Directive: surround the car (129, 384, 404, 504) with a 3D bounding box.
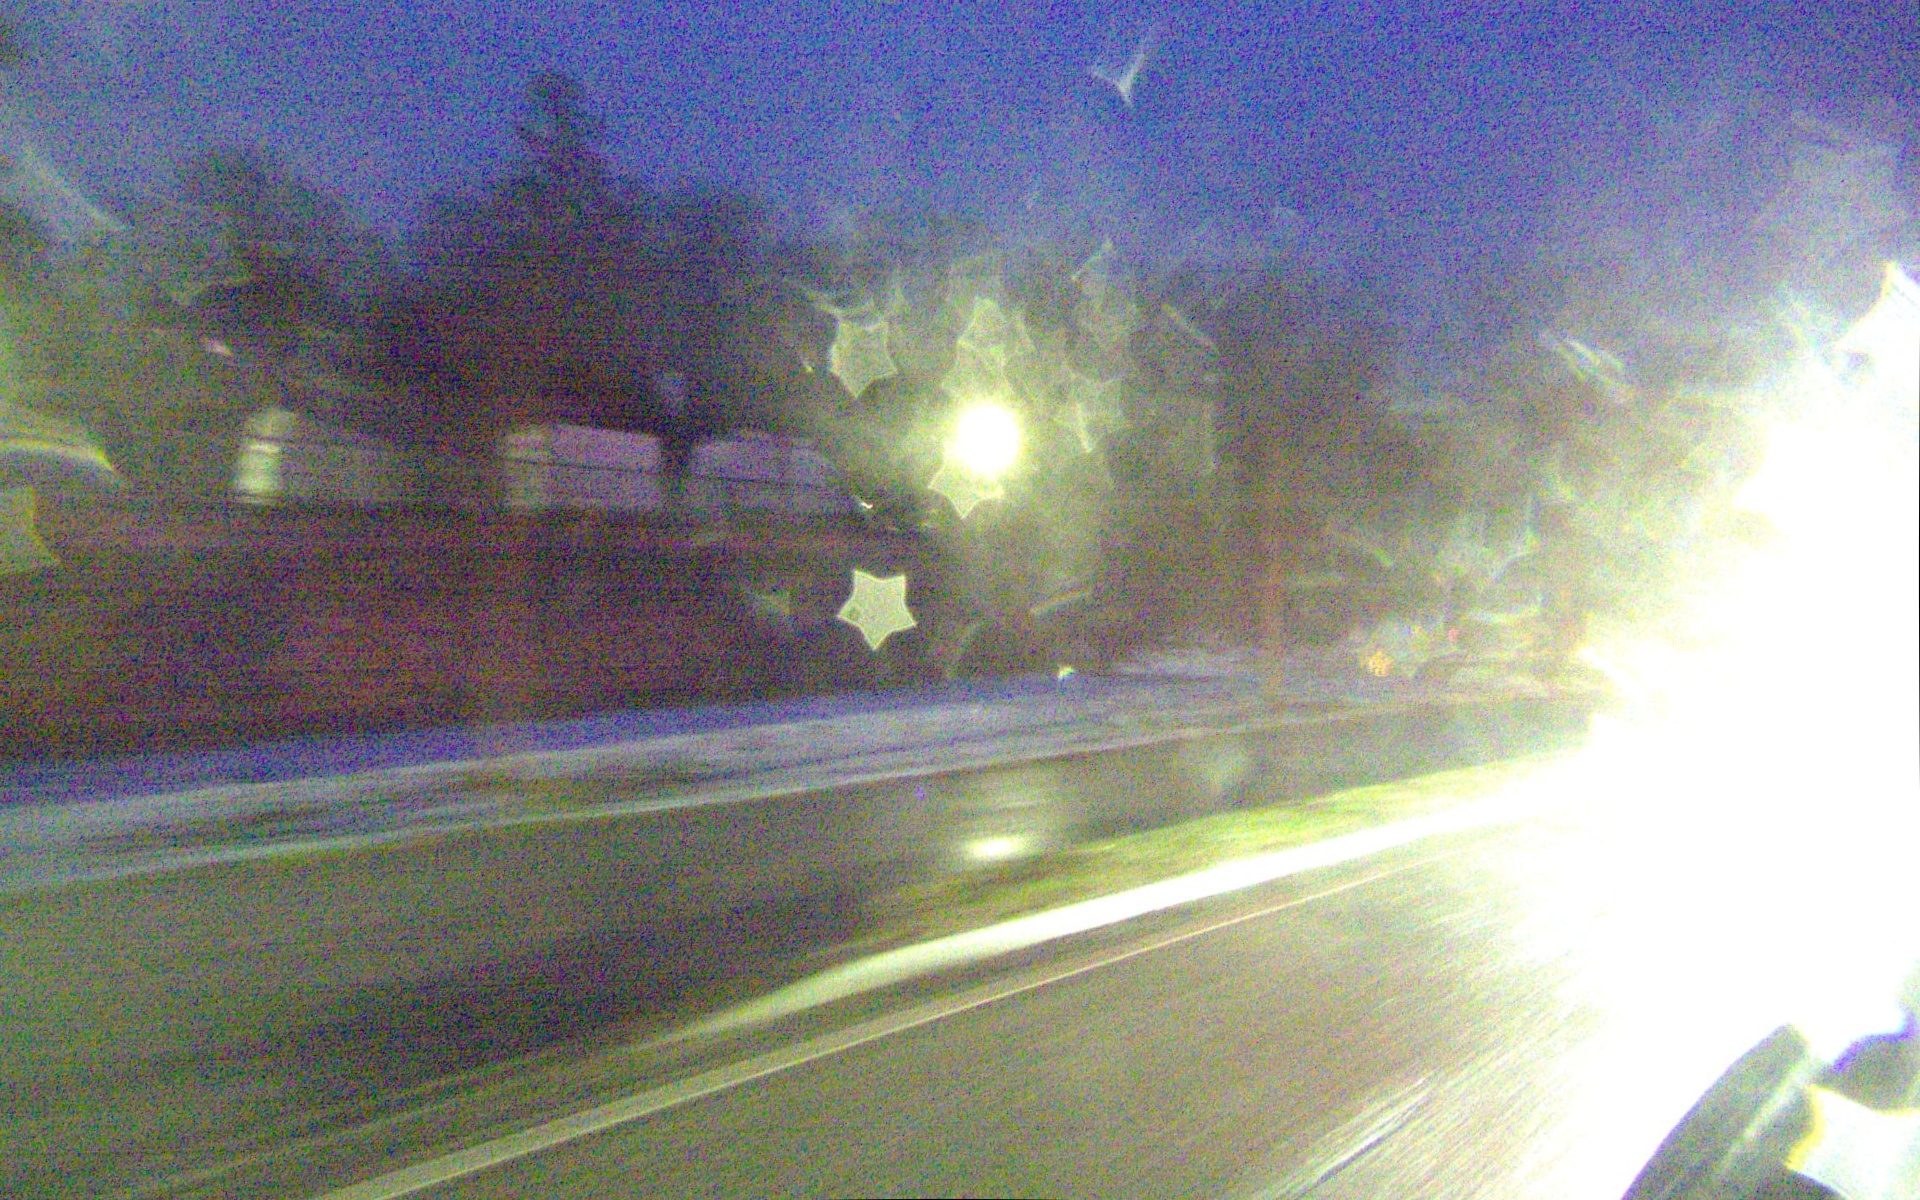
[{"bbox_3d":[-12.764,-2.776,18.861,1.608,1.660,3.949,0,1,35],"label":"car"}]

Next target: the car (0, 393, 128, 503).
[{"bbox_3d":[-15.396,-2.390,15.423,1.608,1.491,3.949,0,1,35],"label":"car"}]

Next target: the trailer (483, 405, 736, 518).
[{"bbox_3d":[-8.450,-3.246,24.950,2.221,2.097,5.643,1,1,38],"label":"trailer"}]

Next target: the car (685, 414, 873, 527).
[{"bbox_3d":[-5.115,-3.608,29.336,2.109,2.668,5.377,1,1,38],"label":"car"}]
